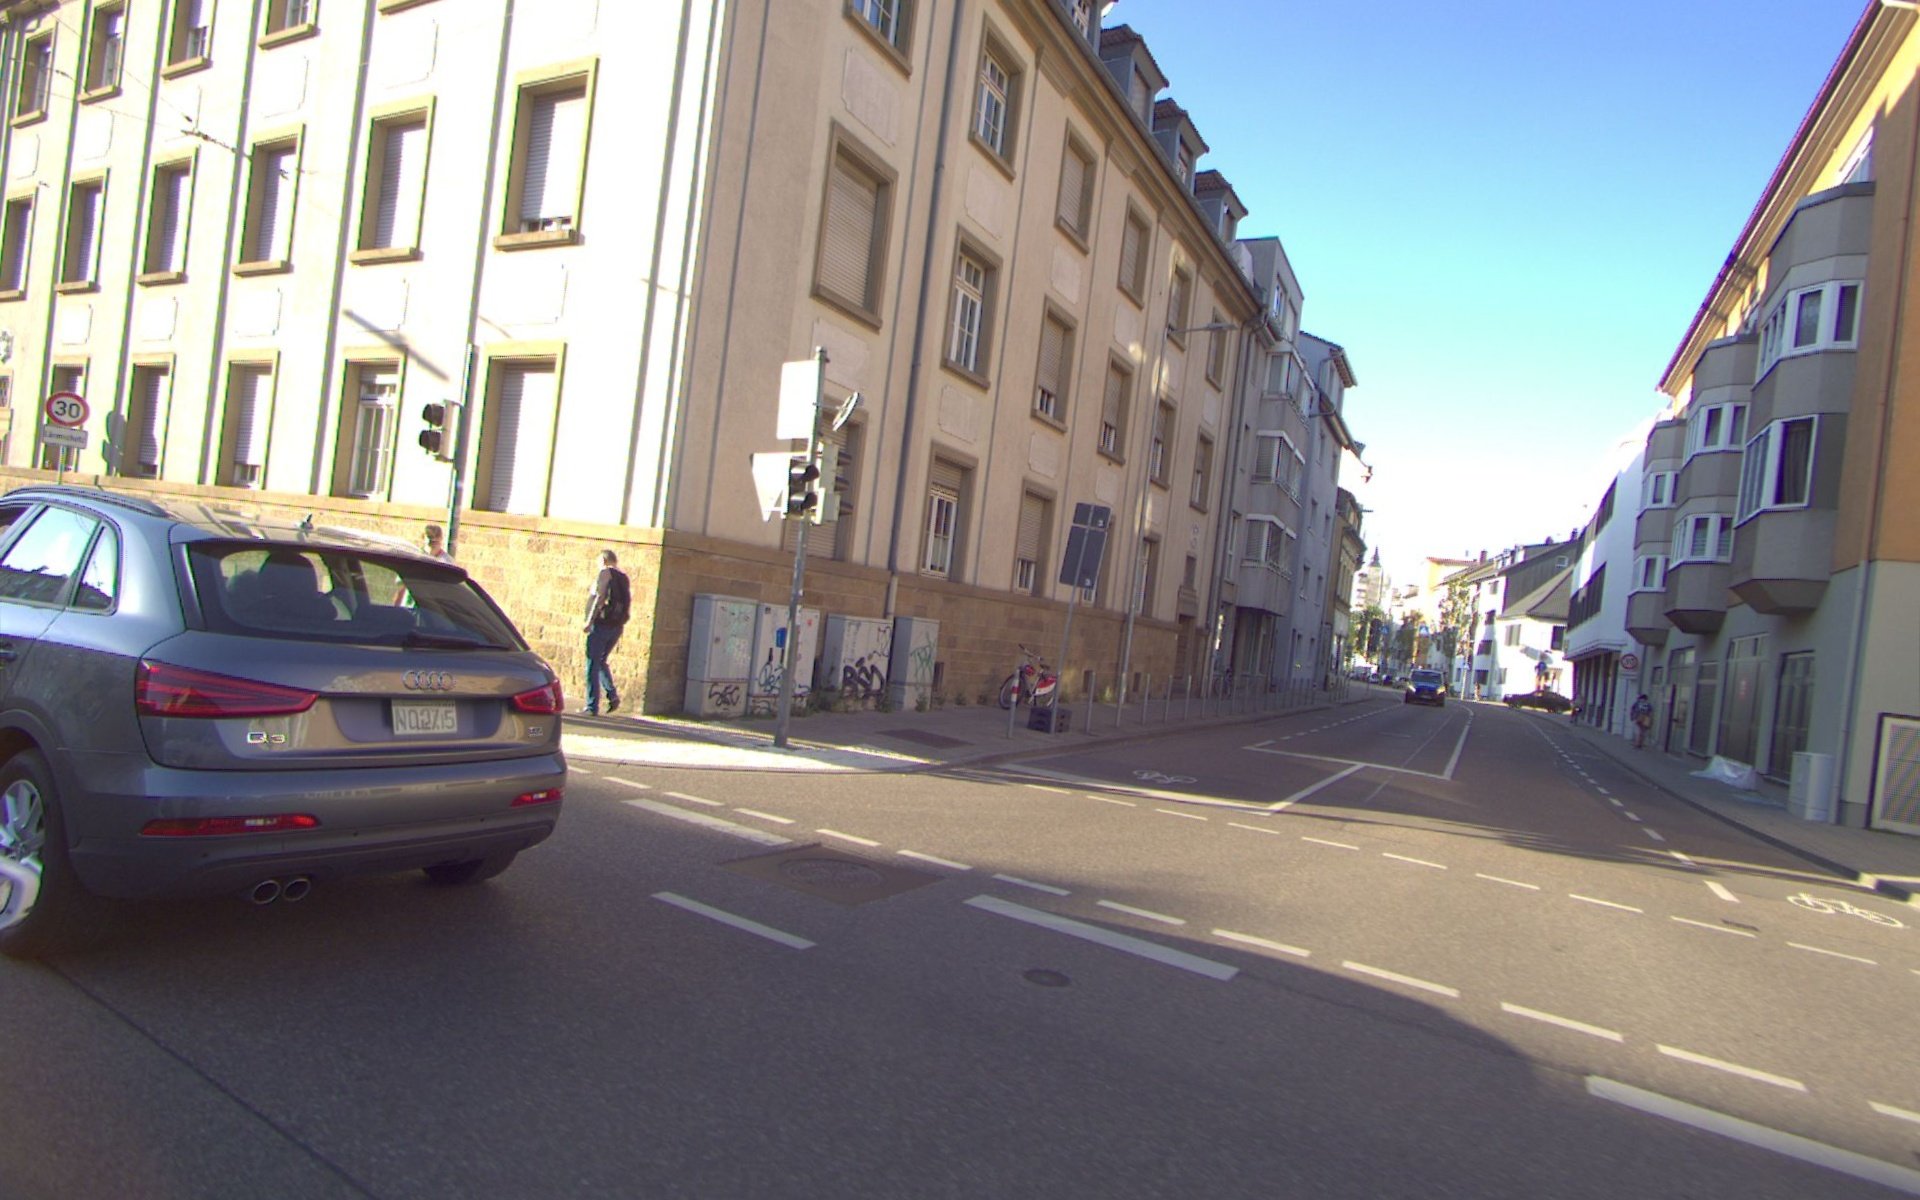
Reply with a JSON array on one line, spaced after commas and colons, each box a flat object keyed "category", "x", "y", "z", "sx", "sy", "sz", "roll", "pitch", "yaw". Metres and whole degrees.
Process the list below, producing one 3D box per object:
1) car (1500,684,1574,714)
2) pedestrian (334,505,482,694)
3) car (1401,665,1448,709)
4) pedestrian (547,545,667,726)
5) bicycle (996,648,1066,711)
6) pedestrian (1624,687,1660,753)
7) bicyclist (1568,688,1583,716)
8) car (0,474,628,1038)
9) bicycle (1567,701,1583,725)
[{"category": "car", "x": 43.821, "y": 7.487, "z": 76.489, "sx": 4.480, "sy": 1.675, "sz": 2.001, "roll": 6, "pitch": -2, "yaw": 22}, {"category": "pedestrian", "x": -5.606, "y": 0.012, "z": 10.243, "sx": 0.810, "sy": 1.783, "sz": 0.837, "roll": 6, "pitch": -1, "yaw": 29}, {"category": "car", "x": 25.210, "y": 4.692, "z": 54.554, "sx": 1.965, "sy": 2.025, "sz": 4.482, "roll": 6, "pitch": -1, "yaw": 27}, {"category": "pedestrian", "x": -3.719, "y": 0.377, "z": 10.608, "sx": 0.811, "sy": 1.778, "sz": 0.630, "roll": 6, "pitch": -1, "yaw": 29}, {"category": "bicycle", "x": 1.301, "y": 1.452, "z": 18.201, "sx": 0.246, "sy": 1.029, "sz": 1.500, "roll": 6, "pitch": -2, "yaw": 45}, {"category": "pedestrian", "x": 21.738, "y": 3.810, "z": 32.081, "sx": 0.709, "sy": 1.977, "sz": 0.685, "roll": 7, "pitch": 0, "yaw": 31}, {"category": "bicyclist", "x": 30.135, "y": 4.987, "z": 49.226, "sx": 0.478, "sy": 1.310, "sz": 0.499, "roll": 6, "pitch": 0, "yaw": 28}, {"category": "car", "x": -3.728, "y": 0.342, "z": 4.615, "sx": 4.153, "sy": 1.571, "sz": 1.701, "roll": 6, "pitch": -1, "yaw": 29}, {"category": "bicycle", "x": 30.062, "y": 5.527, "z": 49.209, "sx": 0.478, "sy": 1.089, "sz": 1.312, "roll": 6, "pitch": -1, "yaw": 28}]
